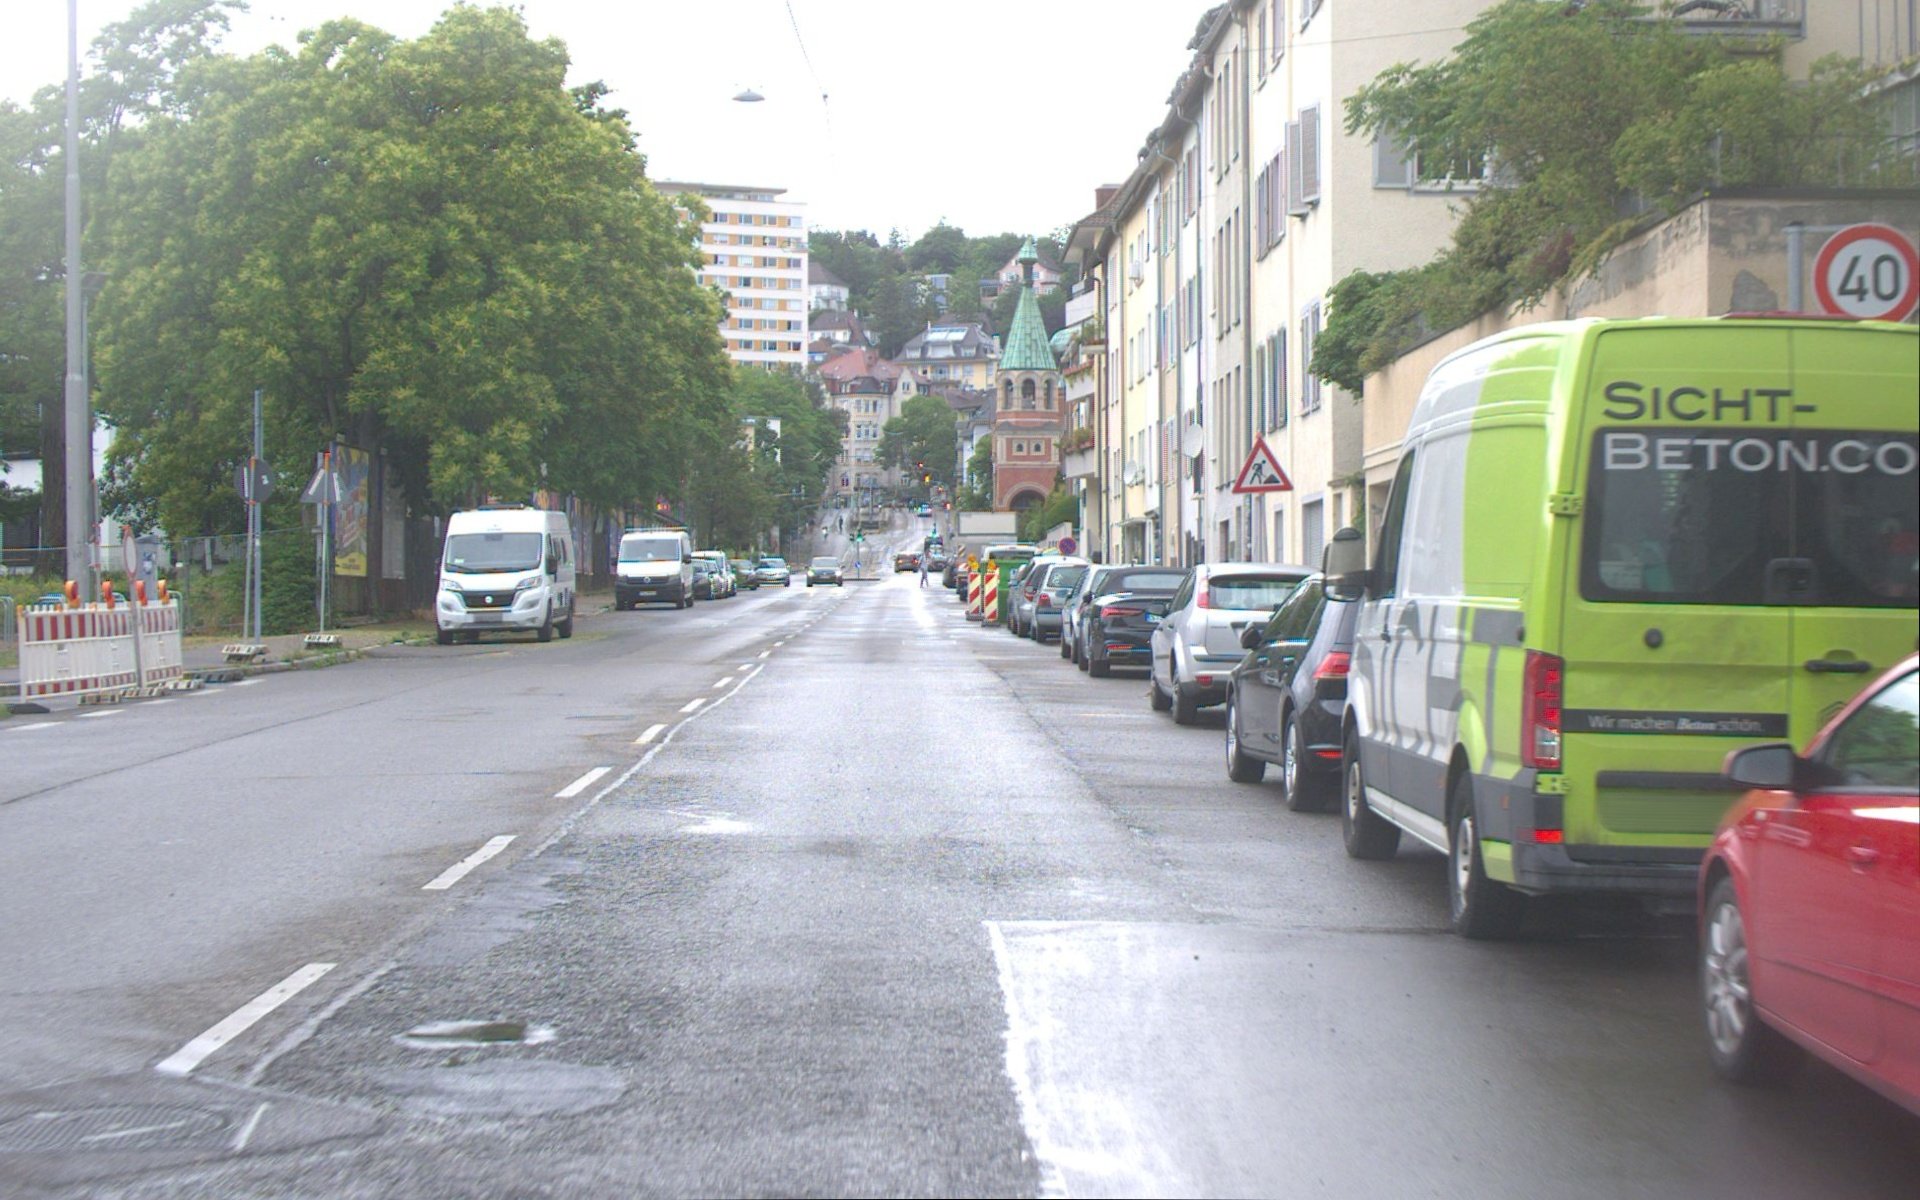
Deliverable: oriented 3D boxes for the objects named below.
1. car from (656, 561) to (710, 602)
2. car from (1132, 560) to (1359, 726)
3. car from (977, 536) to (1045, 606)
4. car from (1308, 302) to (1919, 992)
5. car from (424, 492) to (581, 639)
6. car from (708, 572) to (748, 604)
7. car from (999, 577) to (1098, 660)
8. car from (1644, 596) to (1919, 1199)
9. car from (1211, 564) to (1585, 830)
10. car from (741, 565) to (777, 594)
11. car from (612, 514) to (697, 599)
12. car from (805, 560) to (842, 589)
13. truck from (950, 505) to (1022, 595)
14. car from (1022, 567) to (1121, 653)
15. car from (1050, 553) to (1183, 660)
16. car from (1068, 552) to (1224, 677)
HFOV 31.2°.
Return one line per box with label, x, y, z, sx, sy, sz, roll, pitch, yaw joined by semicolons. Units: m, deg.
car;-9.592;-0.634;119.306;1.682;1.394;3.911;-1;0;-2
car;2.681;0.449;33.151;1.688;1.449;4.235;2;-2;-2
car;1.425;-0.841;97.690;1.817;1.917;4.239;-1;1;0
car;3.046;0.129;15.493;2.205;2.455;6.080;2;1;-1
car;-8.553;-0.663;64.839;2.230;2.570;6.538;-1;1;-2
car;-10.777;-0.541;160.015;1.803;1.445;4.658;0;0;-3
car;1.732;0.340;68.382;1.716;1.519;4.000;2;1;-2
car;3.048;0.757;8.804;1.721;1.416;4.203;2;1;0
car;2.673;0.537;21.875;1.688;1.449;4.235;2;1;-2
car;-10.255;-1.050;175.305;1.709;1.445;4.294;0;0;-2
car;-9.174;-1.318;103.687;2.012;2.478;5.983;-1;1;0
car;-6.808;-1.274;171.434;1.805;1.411;4.384;0;0;-3
truck;0.907;-1.772;123.739;2.469;3.161;7.036;0;0;0
car;2.017;0.164;63.000;1.558;1.449;3.760;2;1;-2
car;2.258;0.066;50.345;1.629;1.449;3.760;2;1;-2
car;2.313;0.149;43.561;1.629;1.449;3.760;2;1;-2
